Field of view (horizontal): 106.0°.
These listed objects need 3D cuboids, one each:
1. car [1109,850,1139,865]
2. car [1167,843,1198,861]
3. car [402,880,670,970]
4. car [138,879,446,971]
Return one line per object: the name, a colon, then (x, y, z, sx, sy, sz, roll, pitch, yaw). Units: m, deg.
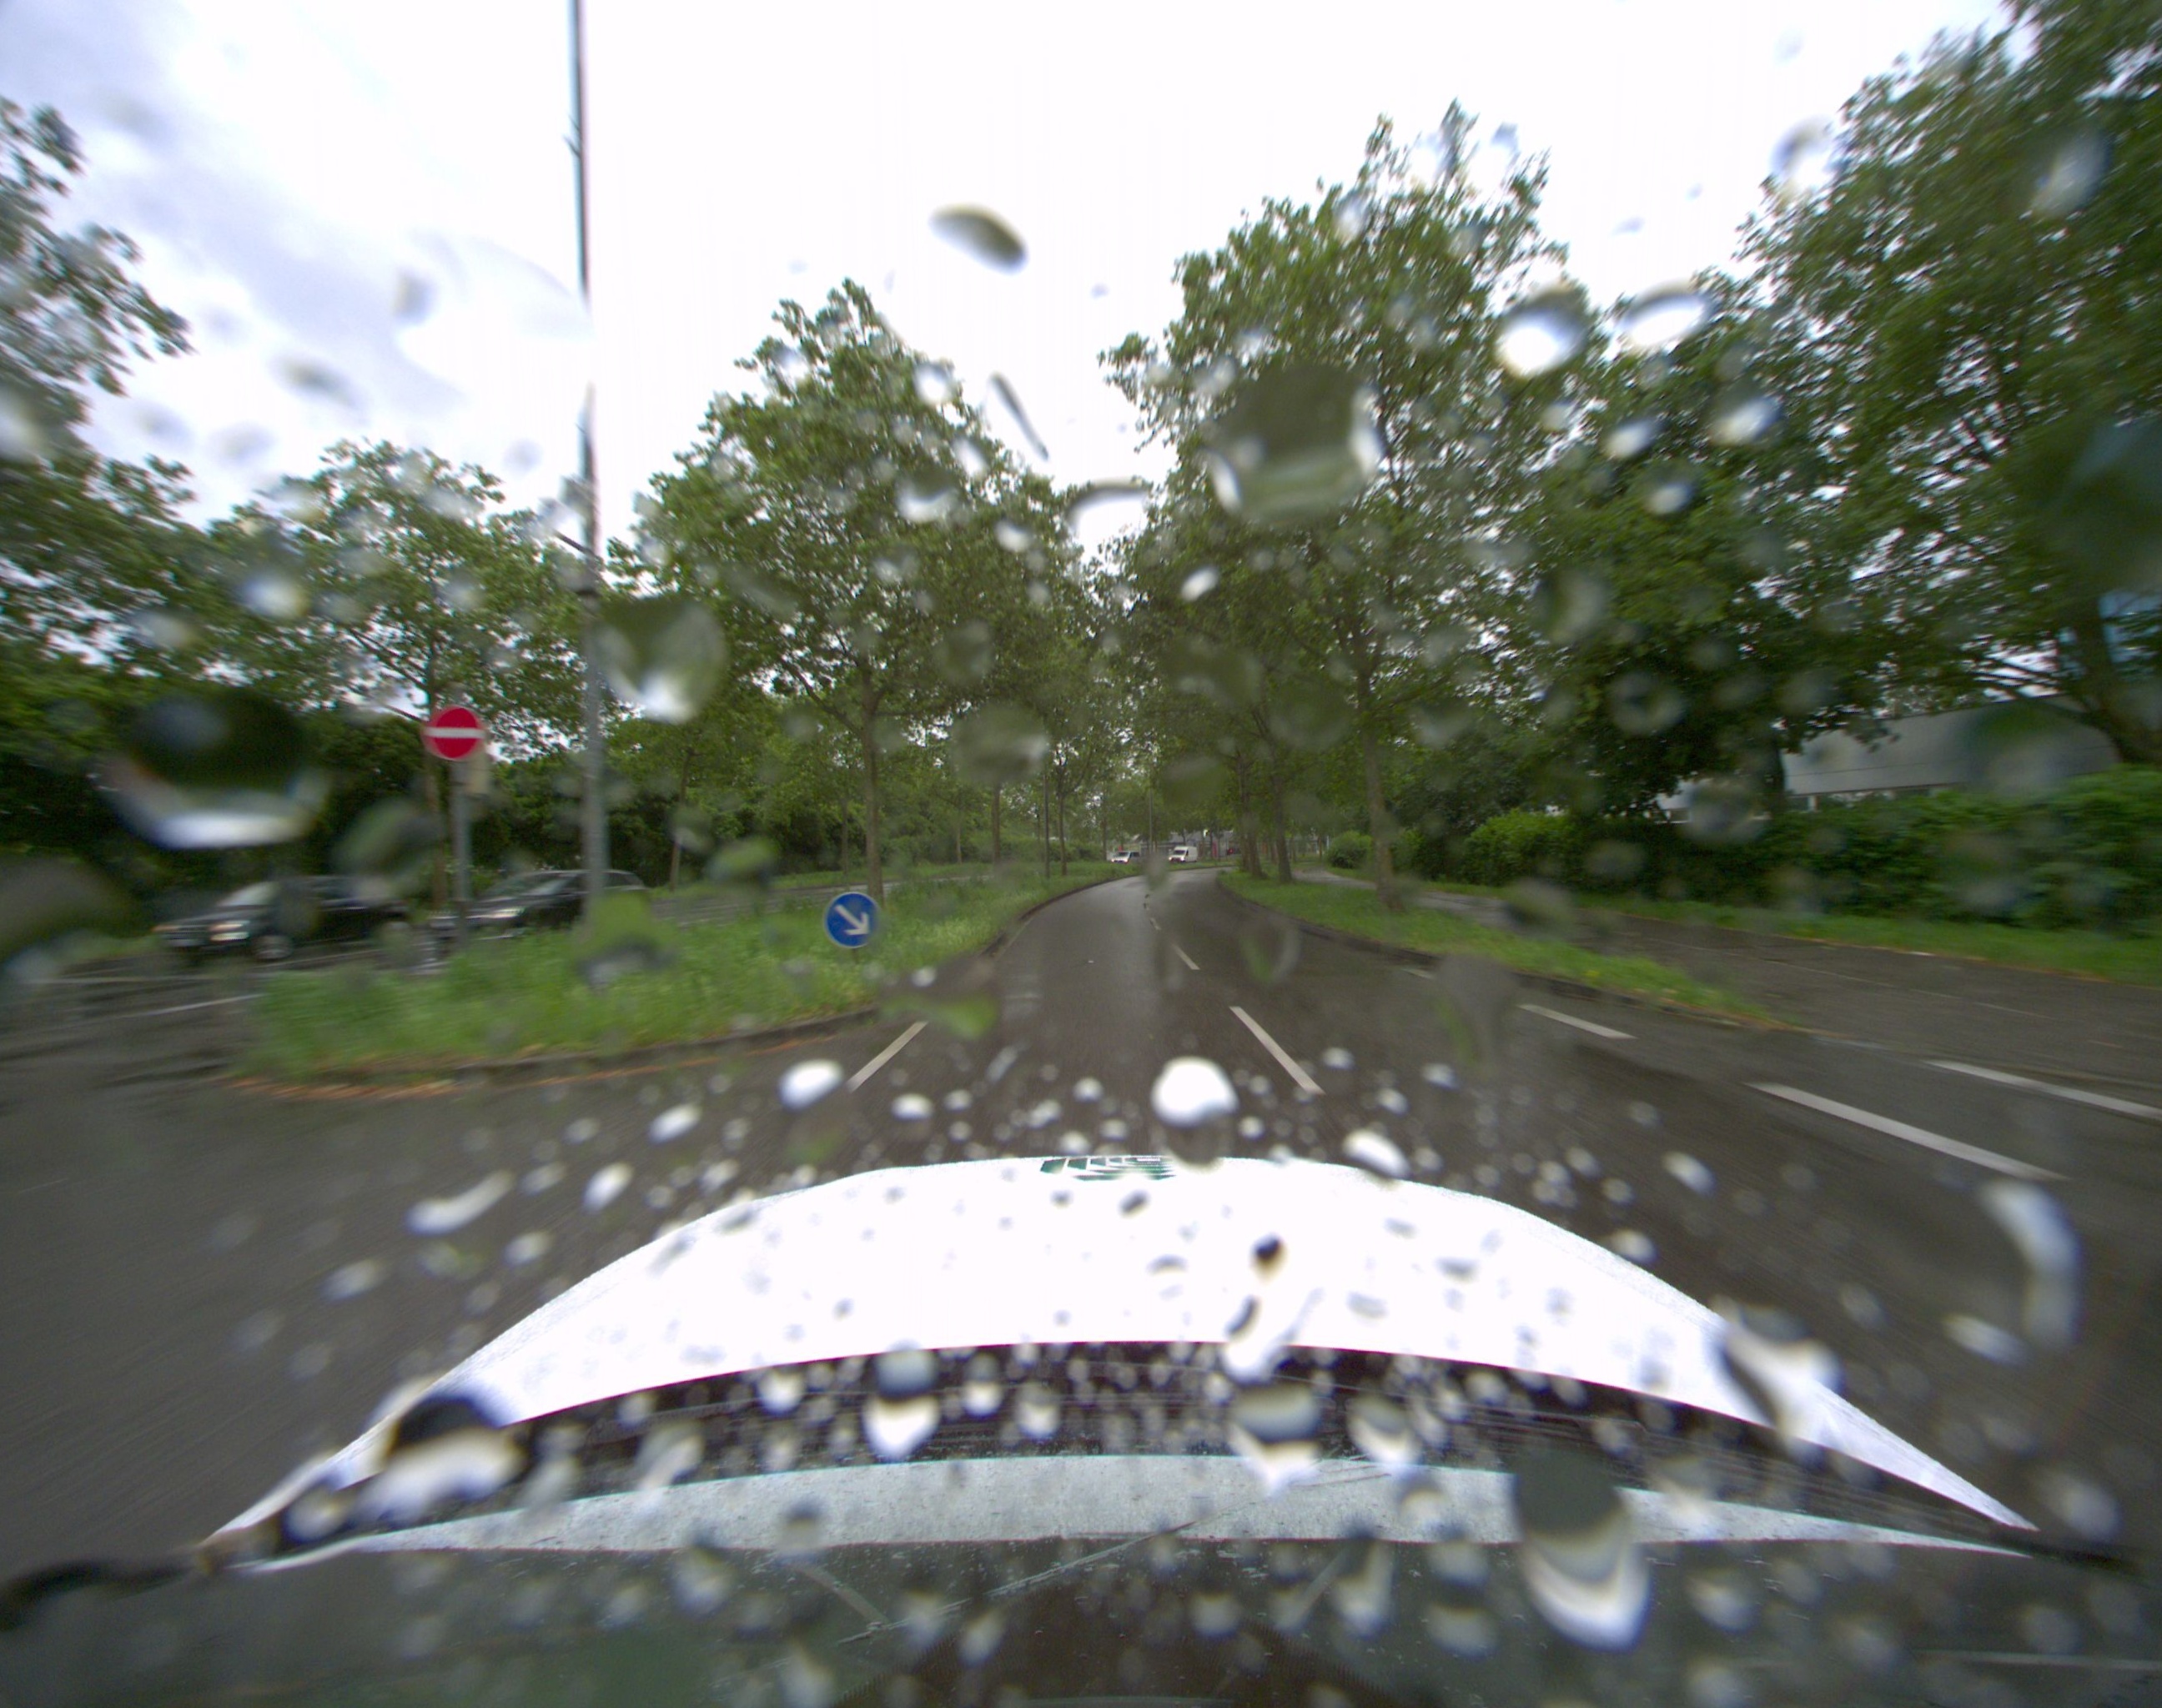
car: (4.802, 0.387, 90.318, 1.955, 1.564, 4.754, -1, 0, 19)
car: (13.267, -0.235, 105.827, 2.262, 2.271, 6.001, -1, 0, 24)
car: (-11.305, 1.391, 17.476, 1.993, 1.452, 5.000, -2, 0, 6)
car: (-14.988, 1.268, 15.870, 1.580, 1.373, 4.268, -2, 0, 5)
